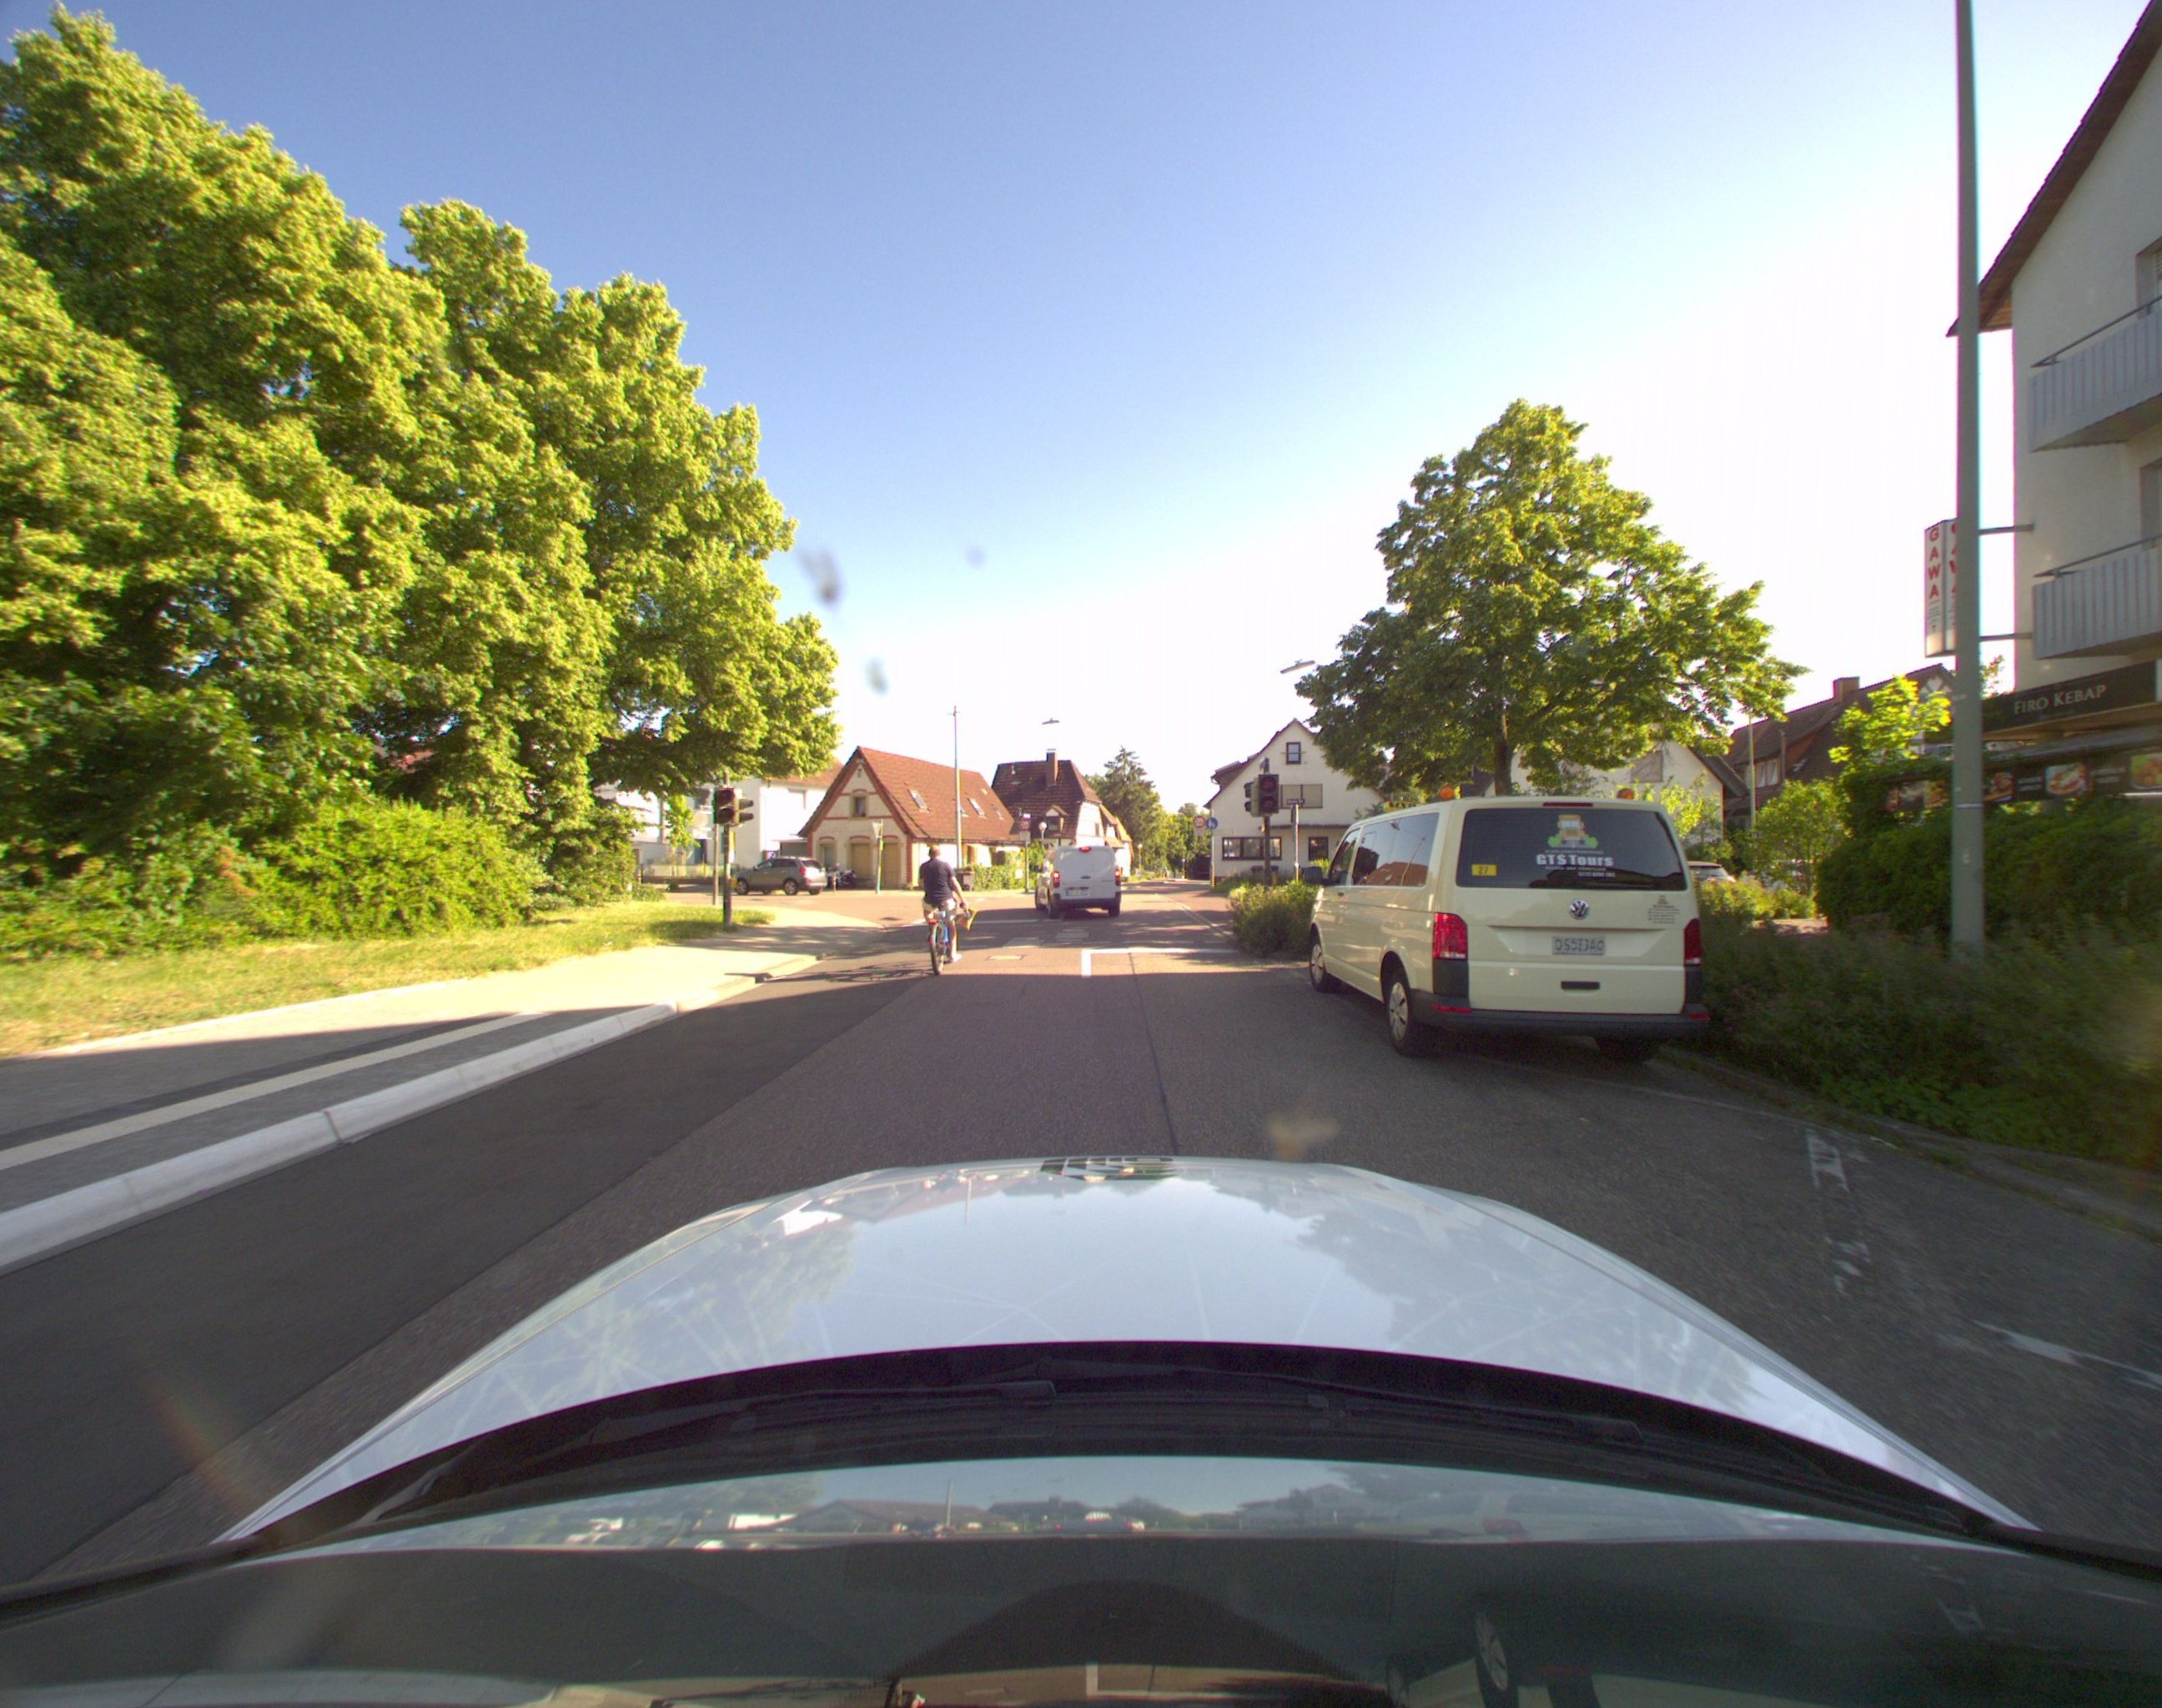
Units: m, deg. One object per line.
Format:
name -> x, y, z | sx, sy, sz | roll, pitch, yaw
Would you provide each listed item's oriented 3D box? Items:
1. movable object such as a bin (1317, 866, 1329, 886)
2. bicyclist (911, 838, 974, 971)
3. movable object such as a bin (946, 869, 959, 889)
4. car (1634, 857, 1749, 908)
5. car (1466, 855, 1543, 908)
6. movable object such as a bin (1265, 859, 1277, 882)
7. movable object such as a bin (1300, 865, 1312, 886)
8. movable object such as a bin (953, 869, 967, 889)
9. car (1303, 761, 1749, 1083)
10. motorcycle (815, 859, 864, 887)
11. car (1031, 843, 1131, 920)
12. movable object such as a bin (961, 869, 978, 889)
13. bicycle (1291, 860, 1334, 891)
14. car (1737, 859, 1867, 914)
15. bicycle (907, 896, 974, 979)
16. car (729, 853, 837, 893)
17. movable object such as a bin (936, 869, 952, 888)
movable object such as a bin -> 11.749, 1.069, 39.532 | 0.494, 0.976, 0.596 | 0, 0, 11
bicyclist -> -1.944, 0.683, 11.555 | 0.763, 1.789, 0.851 | -2, 0, -6
movable object such as a bin -> -6.245, 1.204, 39.580 | 0.409, 0.906, 0.629 | 0, 1, 20
car -> 19.481, 0.859, 26.190 | 1.632, 1.349, 4.132 | 2, 2, 17
car -> 14.280, 0.859, 27.677 | 1.694, 1.517, 4.425 | 1, 2, 19
movable object such as a bin -> 9.323, 0.821, 39.978 | 0.523, 1.123, 0.751 | 0, 0, 11
movable object such as a bin -> 10.980, 1.052, 39.687 | 0.526, 0.983, 0.671 | 0, 0, 11
movable object such as a bin -> -5.840, 1.203, 39.439 | 0.407, 0.924, 0.628 | 0, 0, 20
car -> 3.529, 0.465, 7.636 | 1.984, 2.079, 4.583 | 1, -1, 5
motorcycle -> -11.912, 0.935, 40.168 | 2.223, 1.295, 0.887 | -1, 2, 20
car -> -0.116, 0.637, 22.030 | 1.957, 1.848, 4.545 | -1, 0, -10
movable object such as a bin -> -5.366, 1.202, 39.273 | 0.551, 0.924, 0.628 | 0, 0, 20
bicycle -> 9.973, 0.912, 35.139 | 1.726, 1.284, 0.702 | 0, -1, 10
car -> 22.152, 0.937, 25.210 | 1.584, 1.474, 3.826 | 0, 1, 17
bicycle -> -1.945, 1.125, 11.539 | 0.774, 0.940, 2.286 | -1, 0, -6
car -> -13.418, 0.832, 36.733 | 4.187, 1.725, 1.954 | 0, -1, 17
movable object such as a bin -> -6.688, 1.198, 39.766 | 0.503, 0.924, 0.628 | 0, 0, 20
